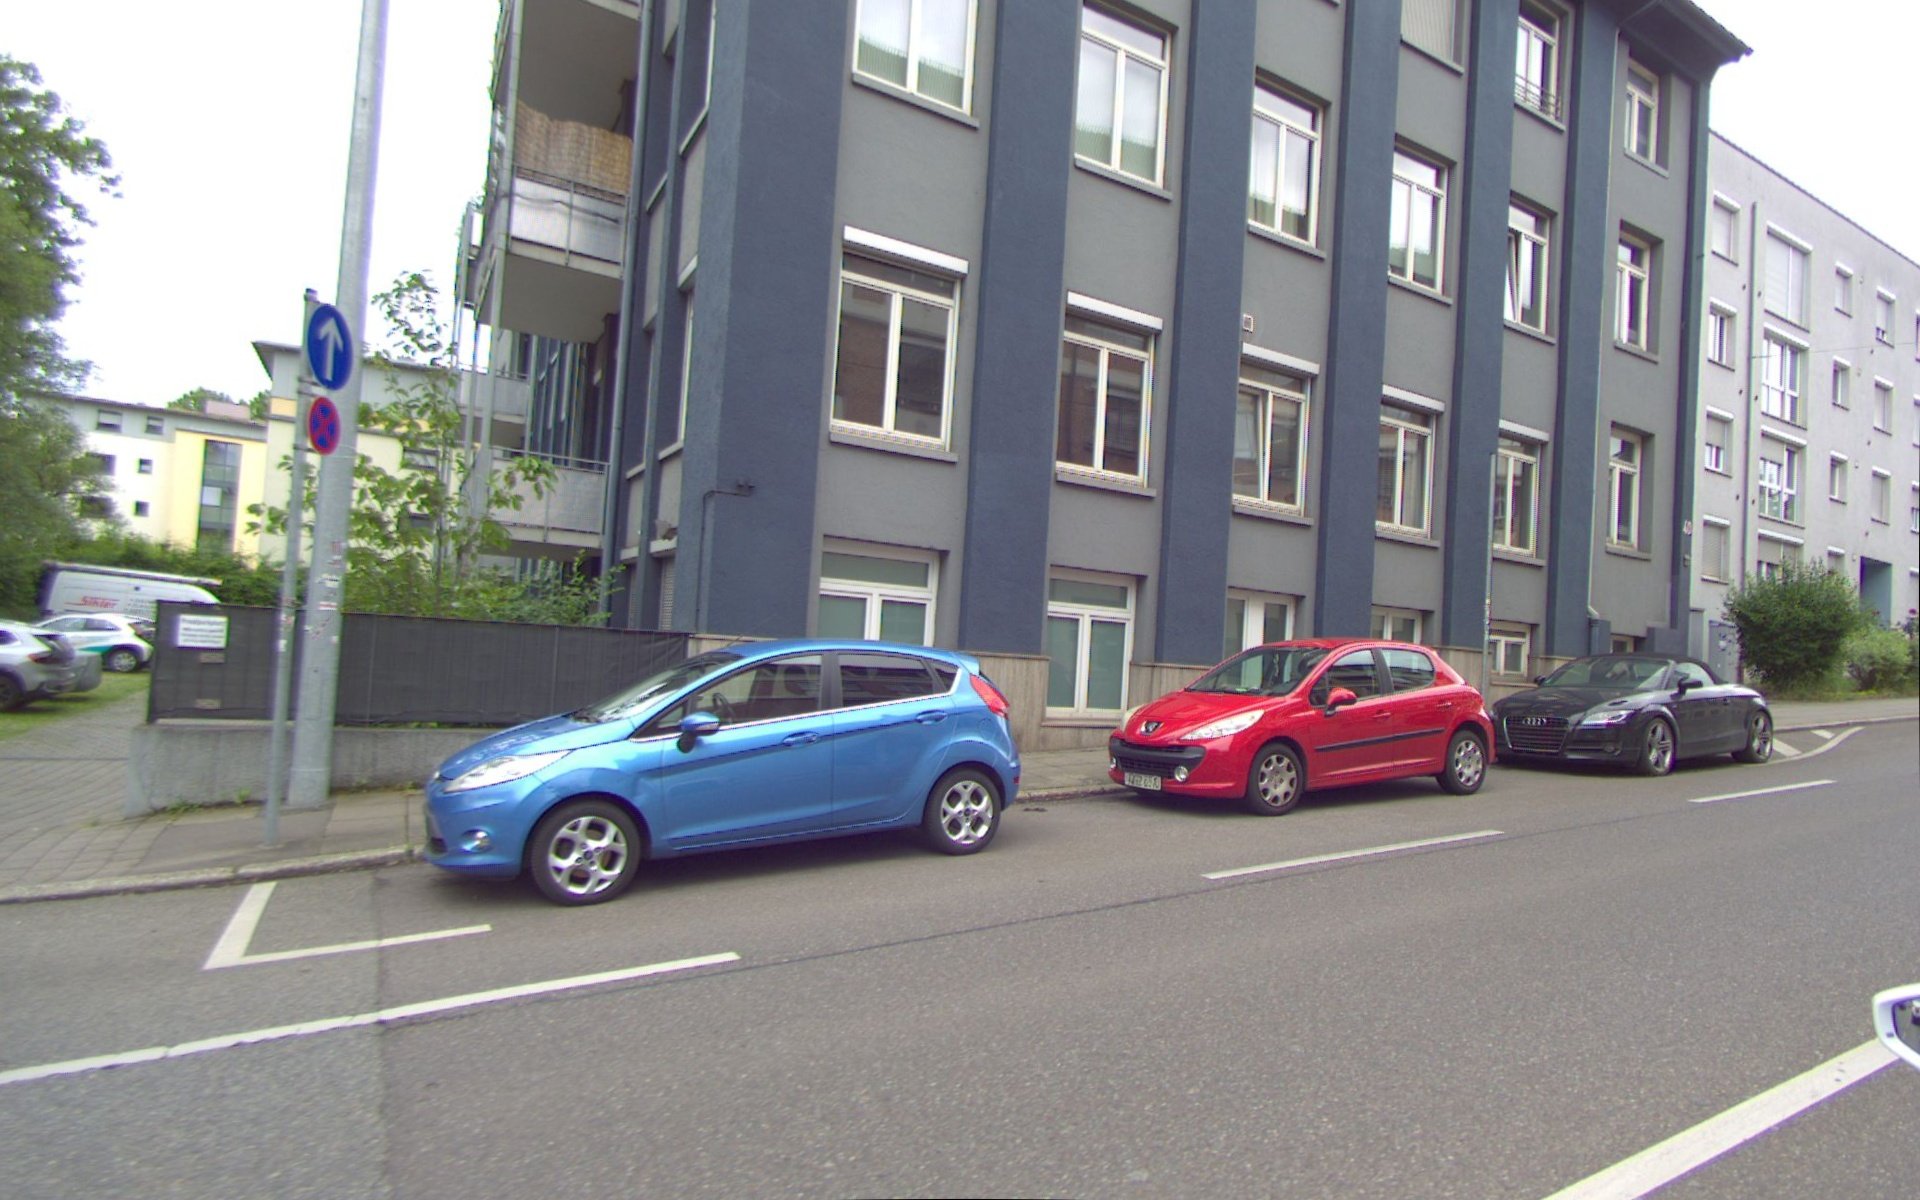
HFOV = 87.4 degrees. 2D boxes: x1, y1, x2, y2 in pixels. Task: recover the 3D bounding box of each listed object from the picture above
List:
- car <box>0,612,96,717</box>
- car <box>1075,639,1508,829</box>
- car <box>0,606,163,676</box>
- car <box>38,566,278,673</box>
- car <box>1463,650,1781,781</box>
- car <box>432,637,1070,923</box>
[{"bbox_3d":[-18.823,1.030,18.207,4.377,1.749,1.982,7,-3,-33],"label":"car"},{"bbox_3d":[3.198,1.128,9.577,3.941,1.475,1.707,1,-3,-29],"label":"car"},{"bbox_3d":[-24.929,1.129,27.970,3.941,1.535,1.822,7,-3,-31],"label":"car"},{"bbox_3d":[-26.545,0.683,33.628,5.731,2.916,2.397,7,-3,-32],"label":"car"},{"bbox_3d":[8.120,1.304,12.266,3.858,1.358,1.706,1,-3,-30],"label":"car"},{"bbox_3d":[-1.343,0.991,6.858,3.942,1.442,1.706,1,-3,-30],"label":"car"}]
